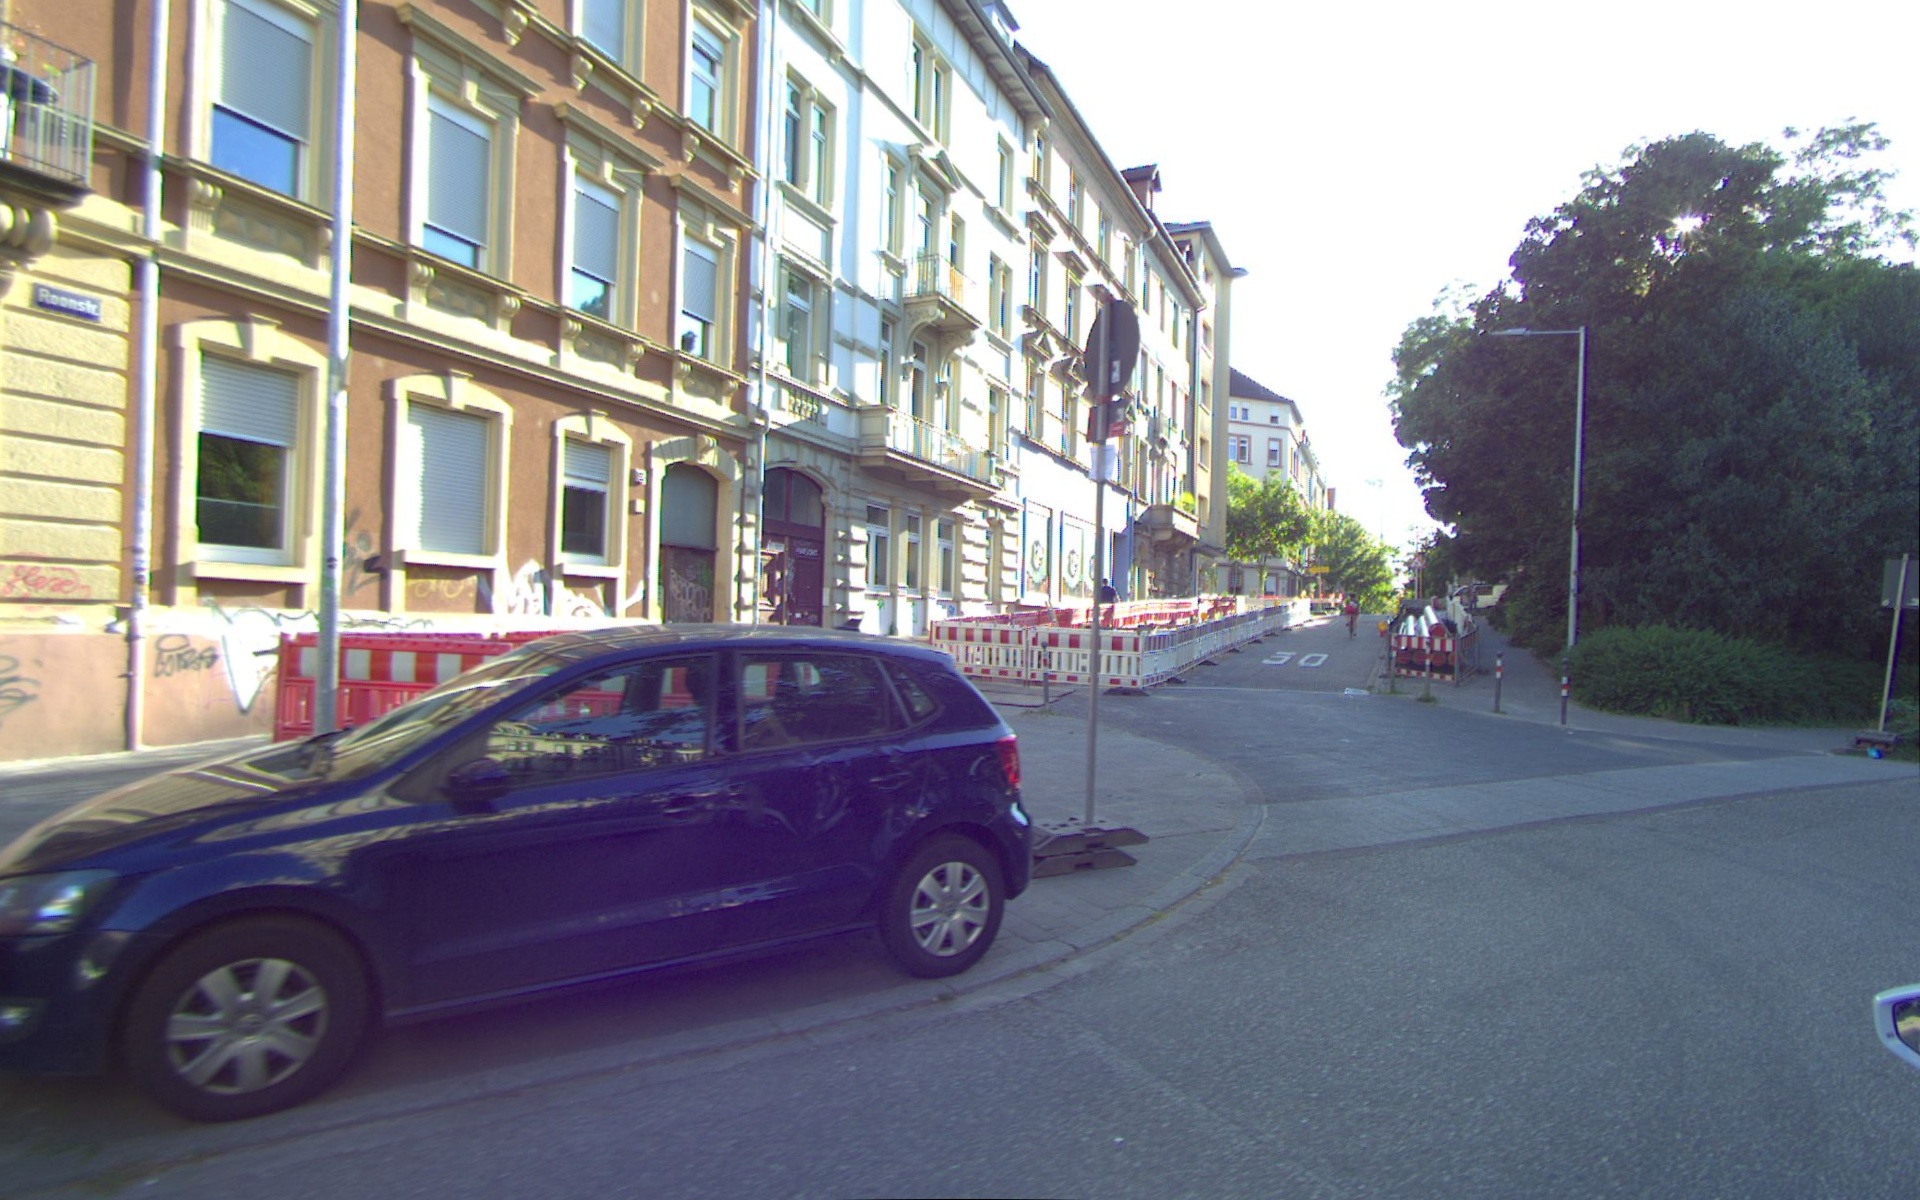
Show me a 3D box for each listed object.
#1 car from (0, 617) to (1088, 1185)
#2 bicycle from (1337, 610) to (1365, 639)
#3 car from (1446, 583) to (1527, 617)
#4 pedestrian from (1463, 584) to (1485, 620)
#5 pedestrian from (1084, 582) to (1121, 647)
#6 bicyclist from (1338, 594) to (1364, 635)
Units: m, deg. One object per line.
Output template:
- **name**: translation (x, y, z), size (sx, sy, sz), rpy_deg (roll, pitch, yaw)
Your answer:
- **car**: translation (-1.549, 0.864, 4.223), size (3.954, 1.477, 1.661), rpy_deg (2, -1, -31)
- **bicycle**: translation (13.924, 0.878, 35.782), size (0.790, 0.981, 2.107), rpy_deg (2, 0, 24)
- **car**: translation (33.768, -0.001, 64.457), size (4.315, 2.040, 1.926), rpy_deg (2, 0, 39)
- **pedestrian**: translation (26.199, 0.087, 51.201), size (0.843, 1.786, 1.092), rpy_deg (2, 0, 23)
- **pedestrian**: translation (4.619, 0.472, 32.518), size (0.925, 2.040, 0.958), rpy_deg (1, -1, 26)
- **bicyclist**: translation (13.935, 0.508, 35.802), size (0.790, 1.402, 0.984), rpy_deg (2, 0, 25)
